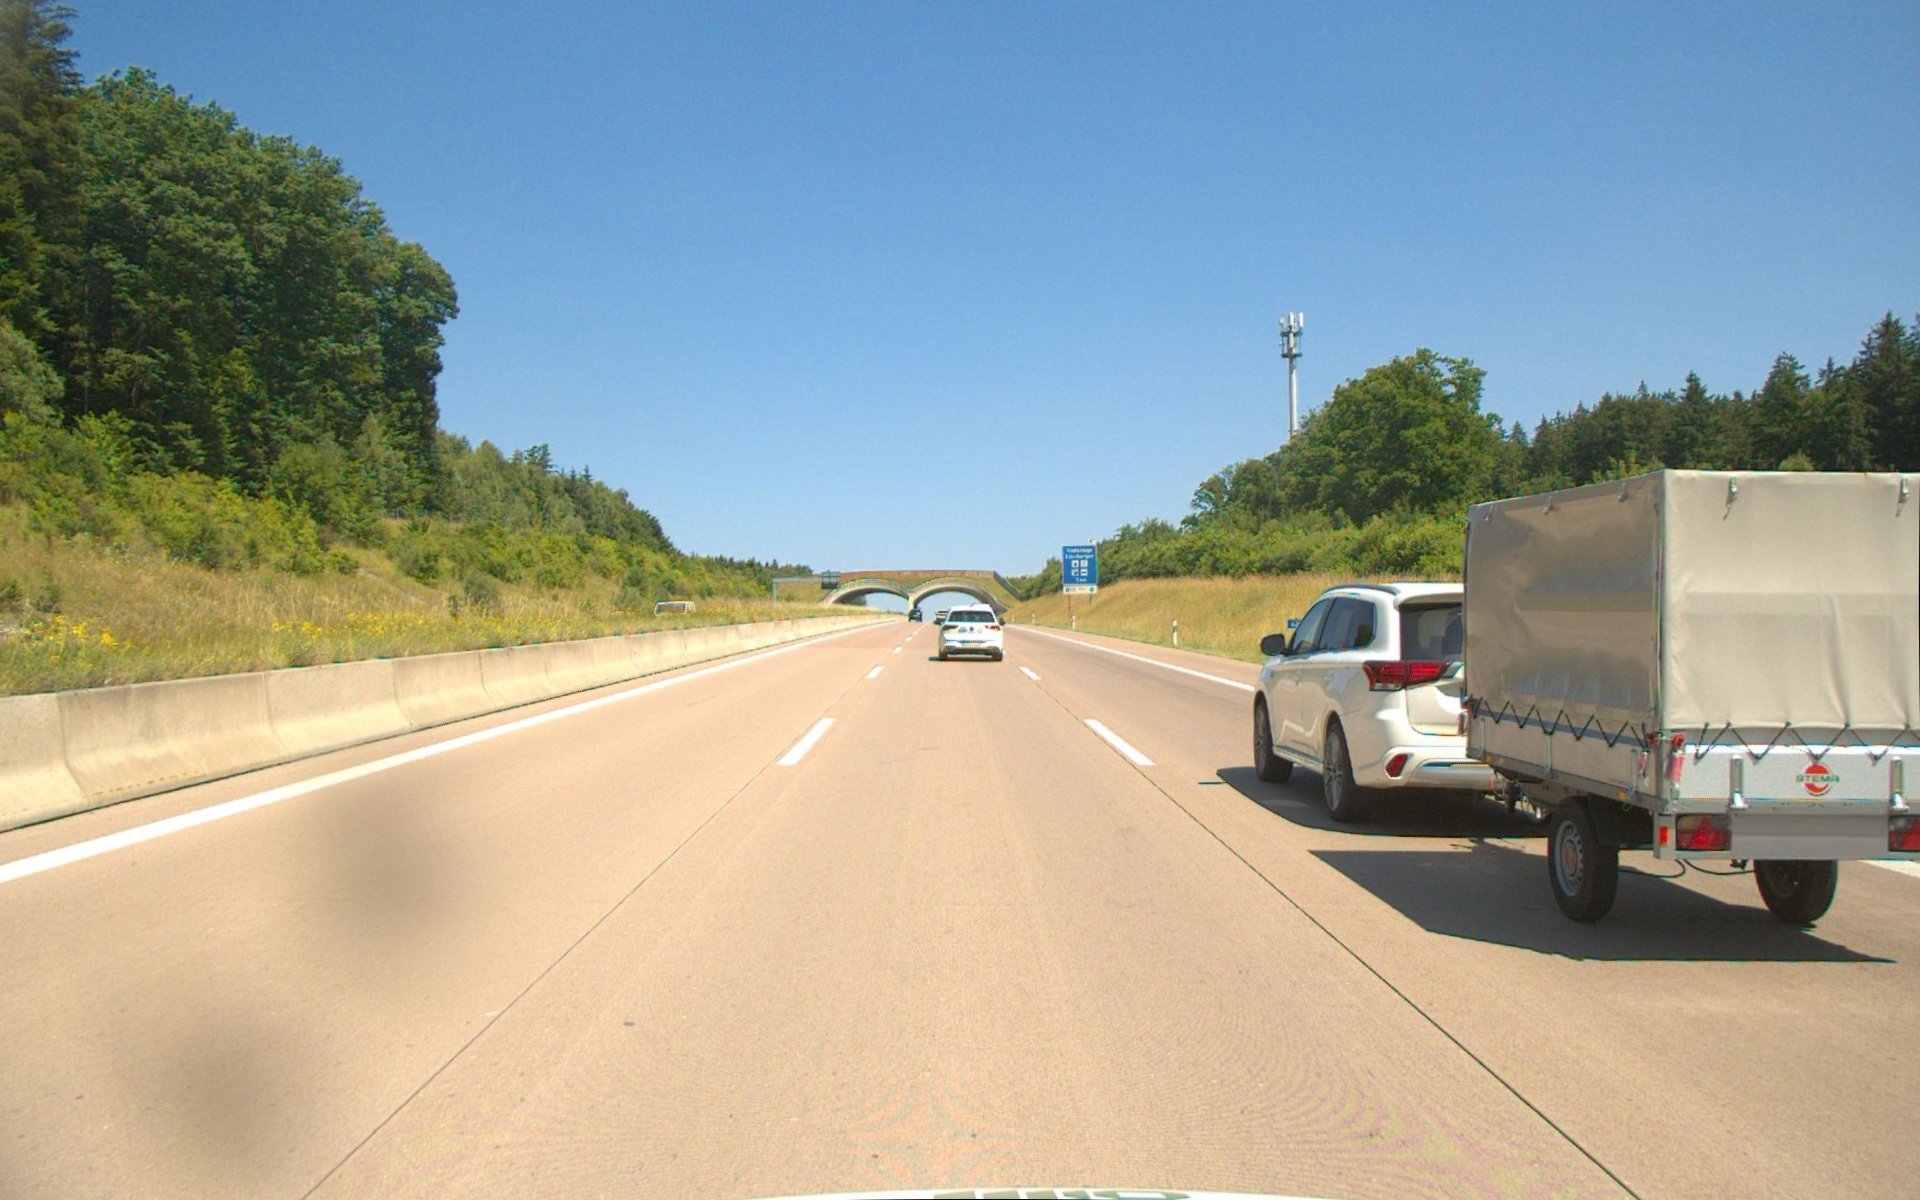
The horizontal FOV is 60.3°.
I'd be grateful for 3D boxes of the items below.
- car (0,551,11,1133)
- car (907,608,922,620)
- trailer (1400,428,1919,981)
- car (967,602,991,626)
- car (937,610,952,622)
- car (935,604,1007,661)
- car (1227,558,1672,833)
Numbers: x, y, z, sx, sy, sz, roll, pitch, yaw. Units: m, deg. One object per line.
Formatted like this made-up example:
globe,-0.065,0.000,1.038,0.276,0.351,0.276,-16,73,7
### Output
car,-3.574,0.665,2.239,1.841,1.635,4.833,0,0,-1
car,-6.306,1.947,230.213,1.852,1.489,4.001,0,0,1
trailer,3.672,0.425,8.618,1.624,2.202,4.015,0,0,-1
car,1.748,1.282,151.733,2.067,2.090,4.001,0,0,1
car,-1.925,1.984,206.906,1.852,1.489,4.000,1,0,0
car,0.343,0.850,45.118,1.852,1.422,4.001,1,0,1
car,3.568,0.618,13.204,1.853,1.758,5.184,0,0,-2
